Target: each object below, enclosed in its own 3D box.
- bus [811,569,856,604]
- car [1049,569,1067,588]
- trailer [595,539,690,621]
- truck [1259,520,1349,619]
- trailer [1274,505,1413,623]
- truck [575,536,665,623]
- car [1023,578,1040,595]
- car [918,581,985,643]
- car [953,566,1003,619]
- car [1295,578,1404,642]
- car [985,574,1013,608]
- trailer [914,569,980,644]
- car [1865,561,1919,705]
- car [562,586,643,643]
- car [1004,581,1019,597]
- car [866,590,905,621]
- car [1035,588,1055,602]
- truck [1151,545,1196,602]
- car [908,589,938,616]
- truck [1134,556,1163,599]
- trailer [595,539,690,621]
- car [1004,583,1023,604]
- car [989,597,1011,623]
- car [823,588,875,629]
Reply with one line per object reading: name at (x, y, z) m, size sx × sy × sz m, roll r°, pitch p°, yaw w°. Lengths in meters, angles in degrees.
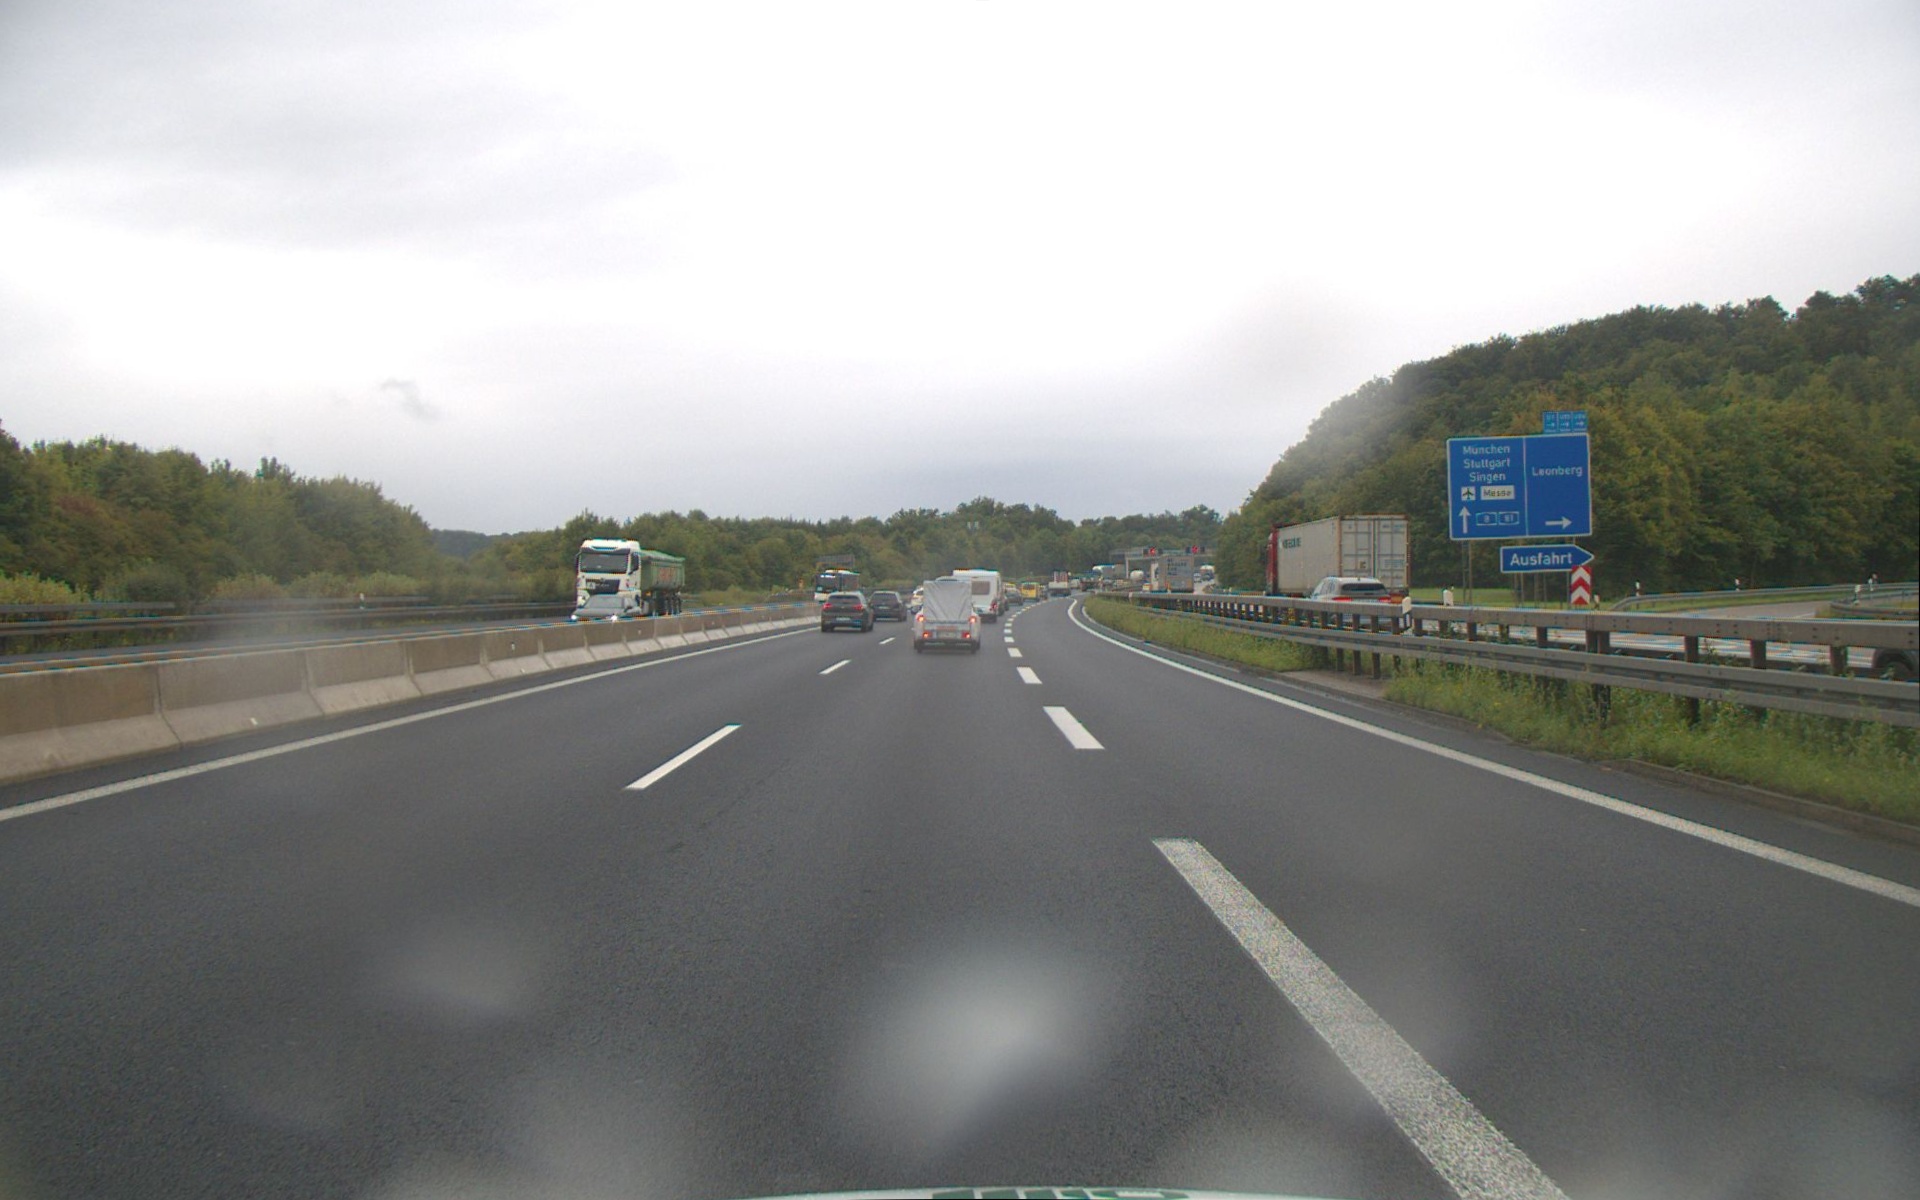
bus at (-11.691, -1.210, 153.651) m, size 2.642 × 3.010 × 11.901 m, roll -3°, pitch 0°, yaw 2°
car at (13.544, -2.954, 229.083) m, size 2.463 × 2.620 × 5.314 m, roll 0°, pitch 0°, yaw 3°
trailer at (-15.507, -0.911, 81.424) m, size 2.843 × 3.814 × 8.928 m, roll 0°, pitch 0°, yaw 1°
truck at (14.330, -1.216, 69.344) m, size 2.562 × 3.952 × 6.393 m, roll 0°, pitch 0°, yaw 1°
trailer at (14.191, -1.219, 62.293) m, size 2.550 × 3.962 × 12.492 m, roll 0°, pitch 0°, yaw 1°
truck at (-15.566, -0.914, 76.190) m, size 2.827 × 3.814 × 5.945 m, roll 0°, pitch 0°, yaw 1°
car at (7.664, -1.425, 177.453) m, size 1.640 × 1.844 × 4.003 m, roll 0°, pitch 0°, yaw 6°
car at (-0.195, 0.330, 46.495) m, size 1.781 × 1.644 × 4.778 m, roll 0°, pitch 0°, yaw 0°
car at (0.965, -0.353, 84.804) m, size 2.455 × 2.630 × 5.701 m, roll 0°, pitch 0°, yaw 2°
car at (10.502, 0.261, 44.937) m, size 1.734 × 1.638 × 4.642 m, roll 0°, pitch 0°, yaw -2°
car at (2.469, -0.552, 103.799) m, size 1.641 × 2.103 × 4.001 m, roll 0°, pitch 0°, yaw 2°
trailer at (-0.306, 0.166, 42.971) m, size 1.641 × 1.844 × 4.000 m, roll 0°, pitch 0°, yaw 0°
car at (10.137, 0.291, 14.991) m, size 1.632 × 1.407 × 4.126 m, roll -2°, pitch 0°, yaw 1°
car at (-12.484, 0.495, 58.068) m, size 1.856 × 1.908 × 4.542 m, roll 0°, pitch 0°, yaw 0°
car at (6.608, -1.360, 213.492) m, size 1.952 × 2.049 × 4.001 m, roll 0°, pitch 0°, yaw 2°
car at (-3.672, 0.254, 82.229) m, size 1.729 × 1.481 × 4.000 m, roll 0°, pitch 0°, yaw 1°
car at (10.079, -0.598, 196.846) m, size 1.994 × 1.712 × 4.003 m, roll 0°, pitch 0°, yaw 8°
truck at (18.537, -2.182, 144.272) m, size 3.148 × 4.748 × 13.039 m, roll 0°, pitch 0°, yaw 4°
car at (-2.301, 0.158, 104.376) m, size 1.739 × 1.669 × 4.043 m, roll 0°, pitch 0°, yaw 1°
truck at (21.417, -2.465, 187.746) m, size 3.147 × 4.748 × 13.042 m, roll 0°, pitch 0°, yaw 6°
trailer at (-15.507, -0.911, 81.424) m, size 2.843 × 3.814 × 8.928 m, roll 0°, pitch 0°, yaw 1°
car at (4.742, -0.609, 147.849) m, size 1.641 × 1.844 × 4.000 m, roll 0°, pitch 0°, yaw 1°
car at (2.956, 0.719, 122.228) m, size 1.641 × 1.844 × 4.000 m, roll 0°, pitch 0°, yaw 1°
car at (-4.162, 0.301, 62.239) m, size 1.641 × 1.481 × 4.000 m, roll 0°, pitch 0°, yaw 1°
